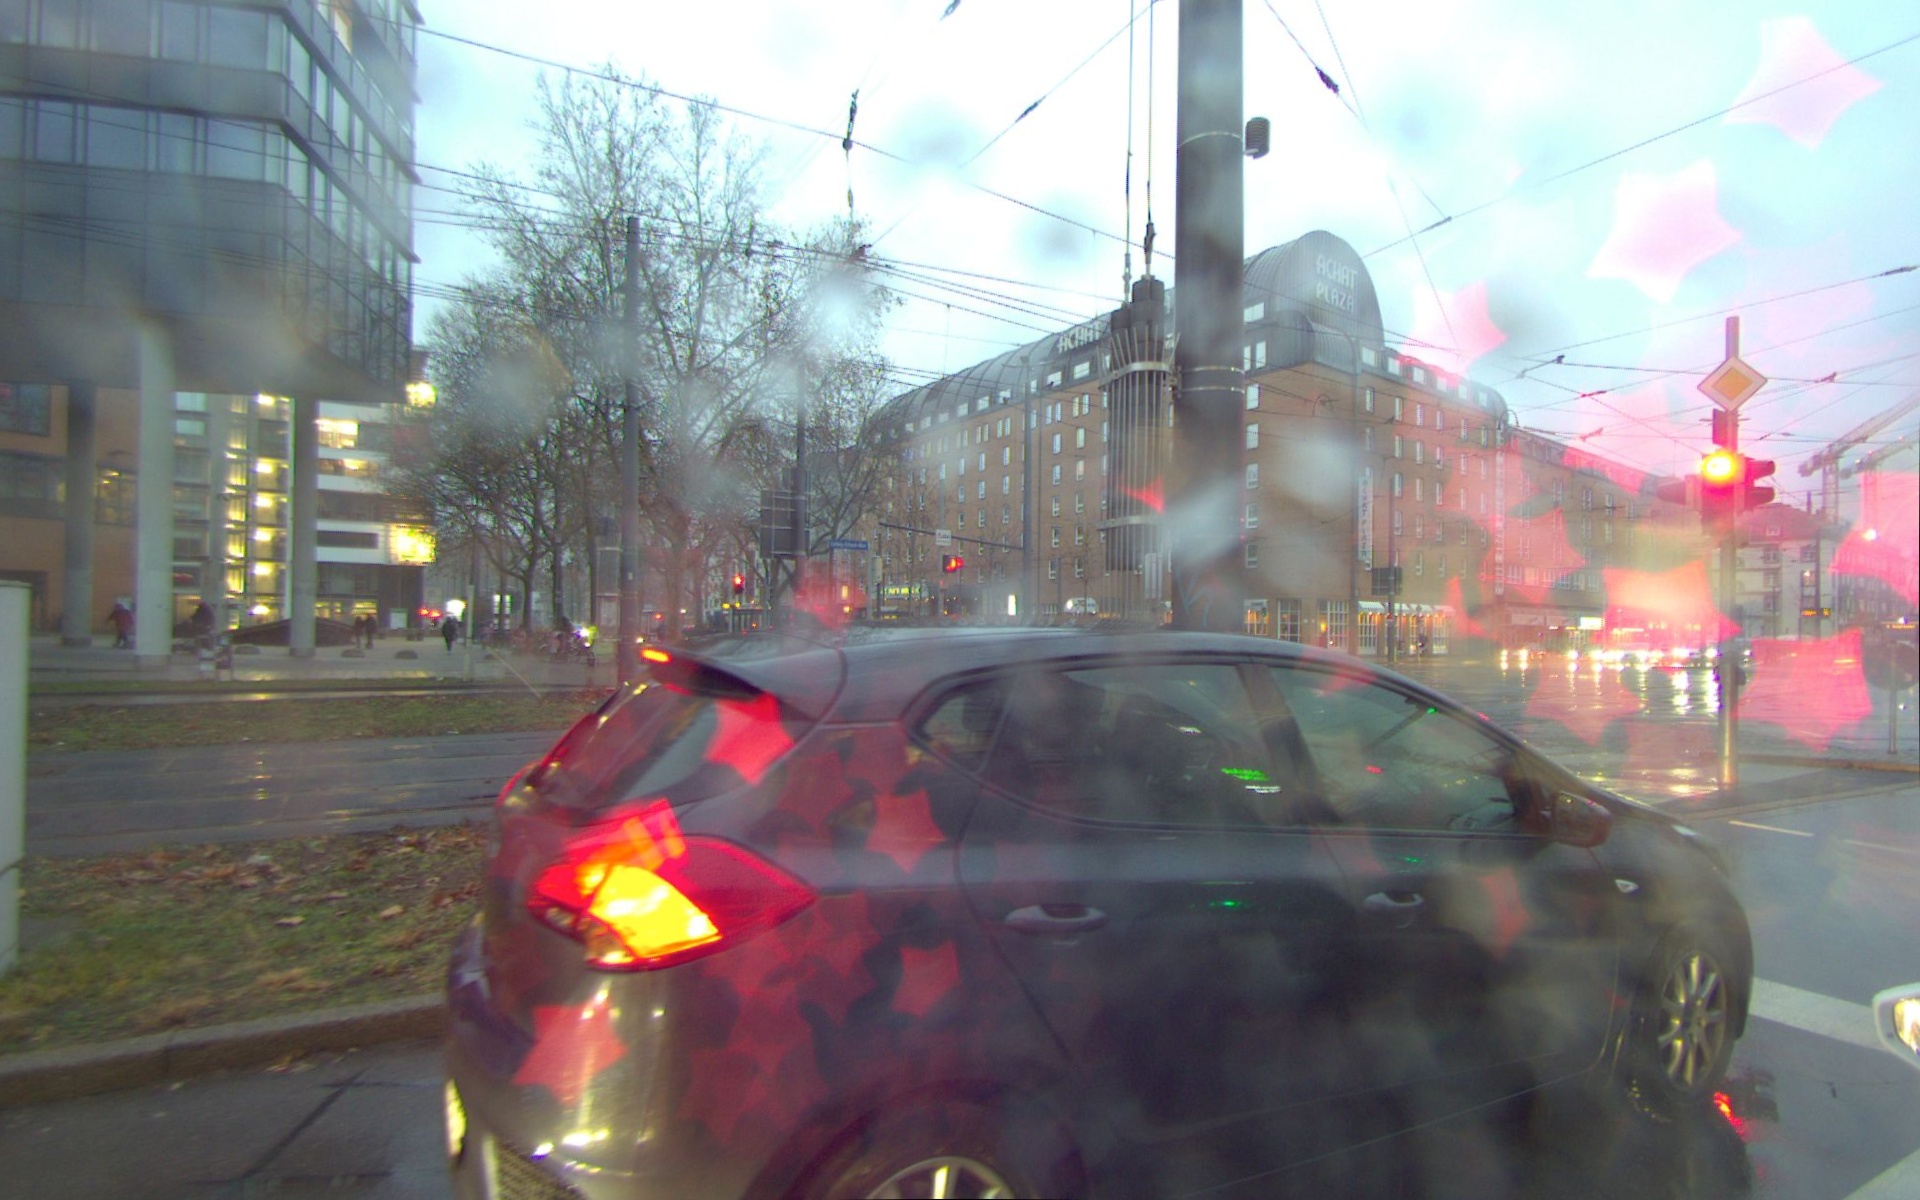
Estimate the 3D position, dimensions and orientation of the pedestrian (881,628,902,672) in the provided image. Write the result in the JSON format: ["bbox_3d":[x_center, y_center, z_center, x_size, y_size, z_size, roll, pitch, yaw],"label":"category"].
[{"bbox_3d":[-3.260,2.378,47.810,0.696,2.040,0.757,0,-2,36],"label":"pedestrian"}]

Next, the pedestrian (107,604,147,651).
[{"bbox_3d":[-31.227,1.033,37.669,0.680,1.731,0.926,0,-1,-1],"label":"pedestrian"}]

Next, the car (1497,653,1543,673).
[{"bbox_3d":[40.618,4.565,72.802,4.194,1.339,1.598,2,-2,-40],"label":"car"}]

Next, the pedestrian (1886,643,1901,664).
[{"bbox_3d":[55.911,3.199,60.146,0.486,1.168,0.575,2,0,-39],"label":"pedestrian"}]

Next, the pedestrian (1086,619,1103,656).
[{"bbox_3d":[7.467,2.095,55.790,0.746,2.040,0.705,1,-1,-14],"label":"pedestrian"}]

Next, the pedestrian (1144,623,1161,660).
[{"bbox_3d":[10.972,2.366,57.231,0.746,2.040,0.705,1,-1,-14],"label":"pedestrian"}]

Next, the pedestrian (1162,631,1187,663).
[{"bbox_3d":[12.765,2.793,59.744,1.144,1.924,0.856,1,-1,-21],"label":"pedestrian"}]

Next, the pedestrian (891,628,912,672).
[{"bbox_3d":[-2.731,2.334,46.842,0.750,2.040,0.702,2,-2,-28],"label":"pedestrian"}]

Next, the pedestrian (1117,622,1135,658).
[{"bbox_3d":[9.428,2.276,56.992,0.701,2.040,0.751,2,-2,-36],"label":"pedestrian"}]

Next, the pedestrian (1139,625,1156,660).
[{"bbox_3d":[11.077,2.523,59.352,0.746,2.040,0.705,1,-1,-14],"label":"pedestrian"}]

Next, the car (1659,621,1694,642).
[{"bbox_3d":[73.231,3.210,102.662,3.968,2.040,1.976,2,0,-41],"label":"car"}]

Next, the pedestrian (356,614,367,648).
[{"bbox_3d":[-30.915,1.601,51.897,0.441,1.774,0.649,1,-1,-30],"label":"pedestrian"}]

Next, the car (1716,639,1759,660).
[{"bbox_3d":[53.742,3.423,69.415,3.519,1.372,1.667,2,-1,-41],"label":"car"}]

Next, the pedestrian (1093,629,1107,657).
[{"bbox_3d":[7.709,2.364,55.193,0.566,1.558,0.517,1,-1,-21],"label":"pedestrian"}]

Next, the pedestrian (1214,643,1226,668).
[{"bbox_3d":[16.726,3.571,64.576,0.566,1.558,0.517,1,-1,-21],"label":"pedestrian"}]

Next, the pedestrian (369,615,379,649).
[{"bbox_3d":[-30.400,1.648,52.124,0.441,1.774,0.649,1,-1,-30],"label":"pedestrian"}]

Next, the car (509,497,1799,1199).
[{"bbox_3d":[0.717,0.703,3.099,3.715,1.593,1.673,1,-2,-29],"label":"car"}]

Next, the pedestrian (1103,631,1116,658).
[{"bbox_3d":[8.755,2.585,58.646,0.566,1.558,0.517,1,-1,-21],"label":"pedestrian"}]

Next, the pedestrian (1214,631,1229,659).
[{"bbox_3d":[14.516,2.484,55.750,0.566,1.558,0.517,1,-1,-21],"label":"pedestrian"}]

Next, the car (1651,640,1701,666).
[{"bbox_3d":[50.504,3.689,70.832,4.669,1.732,1.813,2,-2,-41],"label":"car"}]

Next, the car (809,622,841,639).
[{"bbox_3d":[-14.687,3.330,108.849,2.085,1.806,3.673,2,-2,-32],"label":"car"}]

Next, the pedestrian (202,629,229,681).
[{"bbox_3d":[-18.491,1.361,24.952,0.491,1.281,0.442,2,0,-34],"label":"pedestrian"}]

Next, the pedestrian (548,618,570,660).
[{"bbox_3d":[-16.284,1.581,40.779,0.551,1.706,0.597,0,-1,27],"label":"pedestrian"}]

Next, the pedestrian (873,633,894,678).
[{"bbox_3d":[-3.534,2.571,46.495,0.750,2.040,0.702,2,-2,-28],"label":"pedestrian"}]

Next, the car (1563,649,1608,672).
[{"bbox_3d":[42.877,4.120,68.800,3.566,1.515,1.569,2,-2,-40],"label":"car"}]

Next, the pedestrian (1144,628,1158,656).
[{"bbox_3d":[10.679,2.330,56.101,0.566,1.558,0.517,1,-1,-21],"label":"pedestrian"}]

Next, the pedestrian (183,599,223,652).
[{"bbox_3d":[-27.021,0.906,35.857,0.908,1.870,0.771,1,-1,-21],"label":"pedestrian"}]

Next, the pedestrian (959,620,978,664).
[{"bbox_3d":[0.402,1.963,47.103,0.746,2.040,0.705,1,-1,-14],"label":"pedestrian"}]

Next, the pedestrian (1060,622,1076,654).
[{"bbox_3d":[6.949,2.470,64.747,0.712,2.040,0.740,2,-2,-33],"label":"pedestrian"}]

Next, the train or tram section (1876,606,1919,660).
[{"bbox_3d":[70.090,2.462,73.528,12.156,3.637,2.925,2,0,-40],"label":"train or tram section"}]

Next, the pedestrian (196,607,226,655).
[{"bbox_3d":[-27.334,1.124,36.678,0.683,1.731,0.724,1,-1,-21],"label":"pedestrian"}]

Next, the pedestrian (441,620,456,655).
[{"bbox_3d":[-24.738,1.801,48.597,0.556,1.706,0.592,1,-1,-34],"label":"pedestrian"}]

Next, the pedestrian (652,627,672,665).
[{"bbox_3d":[-16.210,2.487,54.582,0.696,2.040,0.757,0,-2,36],"label":"pedestrian"}]

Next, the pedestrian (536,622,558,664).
[{"bbox_3d":[-16.835,1.742,40.963,0.551,1.706,0.597,0,-1,27],"label":"pedestrian"}]

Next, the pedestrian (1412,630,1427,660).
[{"bbox_3d":[32.074,3.156,70.085,0.919,2.040,0.758,0,-2,27],"label":"pedestrian"}]

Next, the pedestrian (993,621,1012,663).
[{"bbox_3d":[2.098,2.079,49.770,0.746,2.040,0.798,1,-2,-14],"label":"pedestrian"}]

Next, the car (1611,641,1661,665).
[{"bbox_3d":[44.589,3.470,66.219,4.166,1.515,1.654,2,-2,-40],"label":"car"}]

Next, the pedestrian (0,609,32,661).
[{"bbox_3d":[-27.882,1.020,29.495,0.683,1.523,0.650,1,-1,-21],"label":"pedestrian"}]
